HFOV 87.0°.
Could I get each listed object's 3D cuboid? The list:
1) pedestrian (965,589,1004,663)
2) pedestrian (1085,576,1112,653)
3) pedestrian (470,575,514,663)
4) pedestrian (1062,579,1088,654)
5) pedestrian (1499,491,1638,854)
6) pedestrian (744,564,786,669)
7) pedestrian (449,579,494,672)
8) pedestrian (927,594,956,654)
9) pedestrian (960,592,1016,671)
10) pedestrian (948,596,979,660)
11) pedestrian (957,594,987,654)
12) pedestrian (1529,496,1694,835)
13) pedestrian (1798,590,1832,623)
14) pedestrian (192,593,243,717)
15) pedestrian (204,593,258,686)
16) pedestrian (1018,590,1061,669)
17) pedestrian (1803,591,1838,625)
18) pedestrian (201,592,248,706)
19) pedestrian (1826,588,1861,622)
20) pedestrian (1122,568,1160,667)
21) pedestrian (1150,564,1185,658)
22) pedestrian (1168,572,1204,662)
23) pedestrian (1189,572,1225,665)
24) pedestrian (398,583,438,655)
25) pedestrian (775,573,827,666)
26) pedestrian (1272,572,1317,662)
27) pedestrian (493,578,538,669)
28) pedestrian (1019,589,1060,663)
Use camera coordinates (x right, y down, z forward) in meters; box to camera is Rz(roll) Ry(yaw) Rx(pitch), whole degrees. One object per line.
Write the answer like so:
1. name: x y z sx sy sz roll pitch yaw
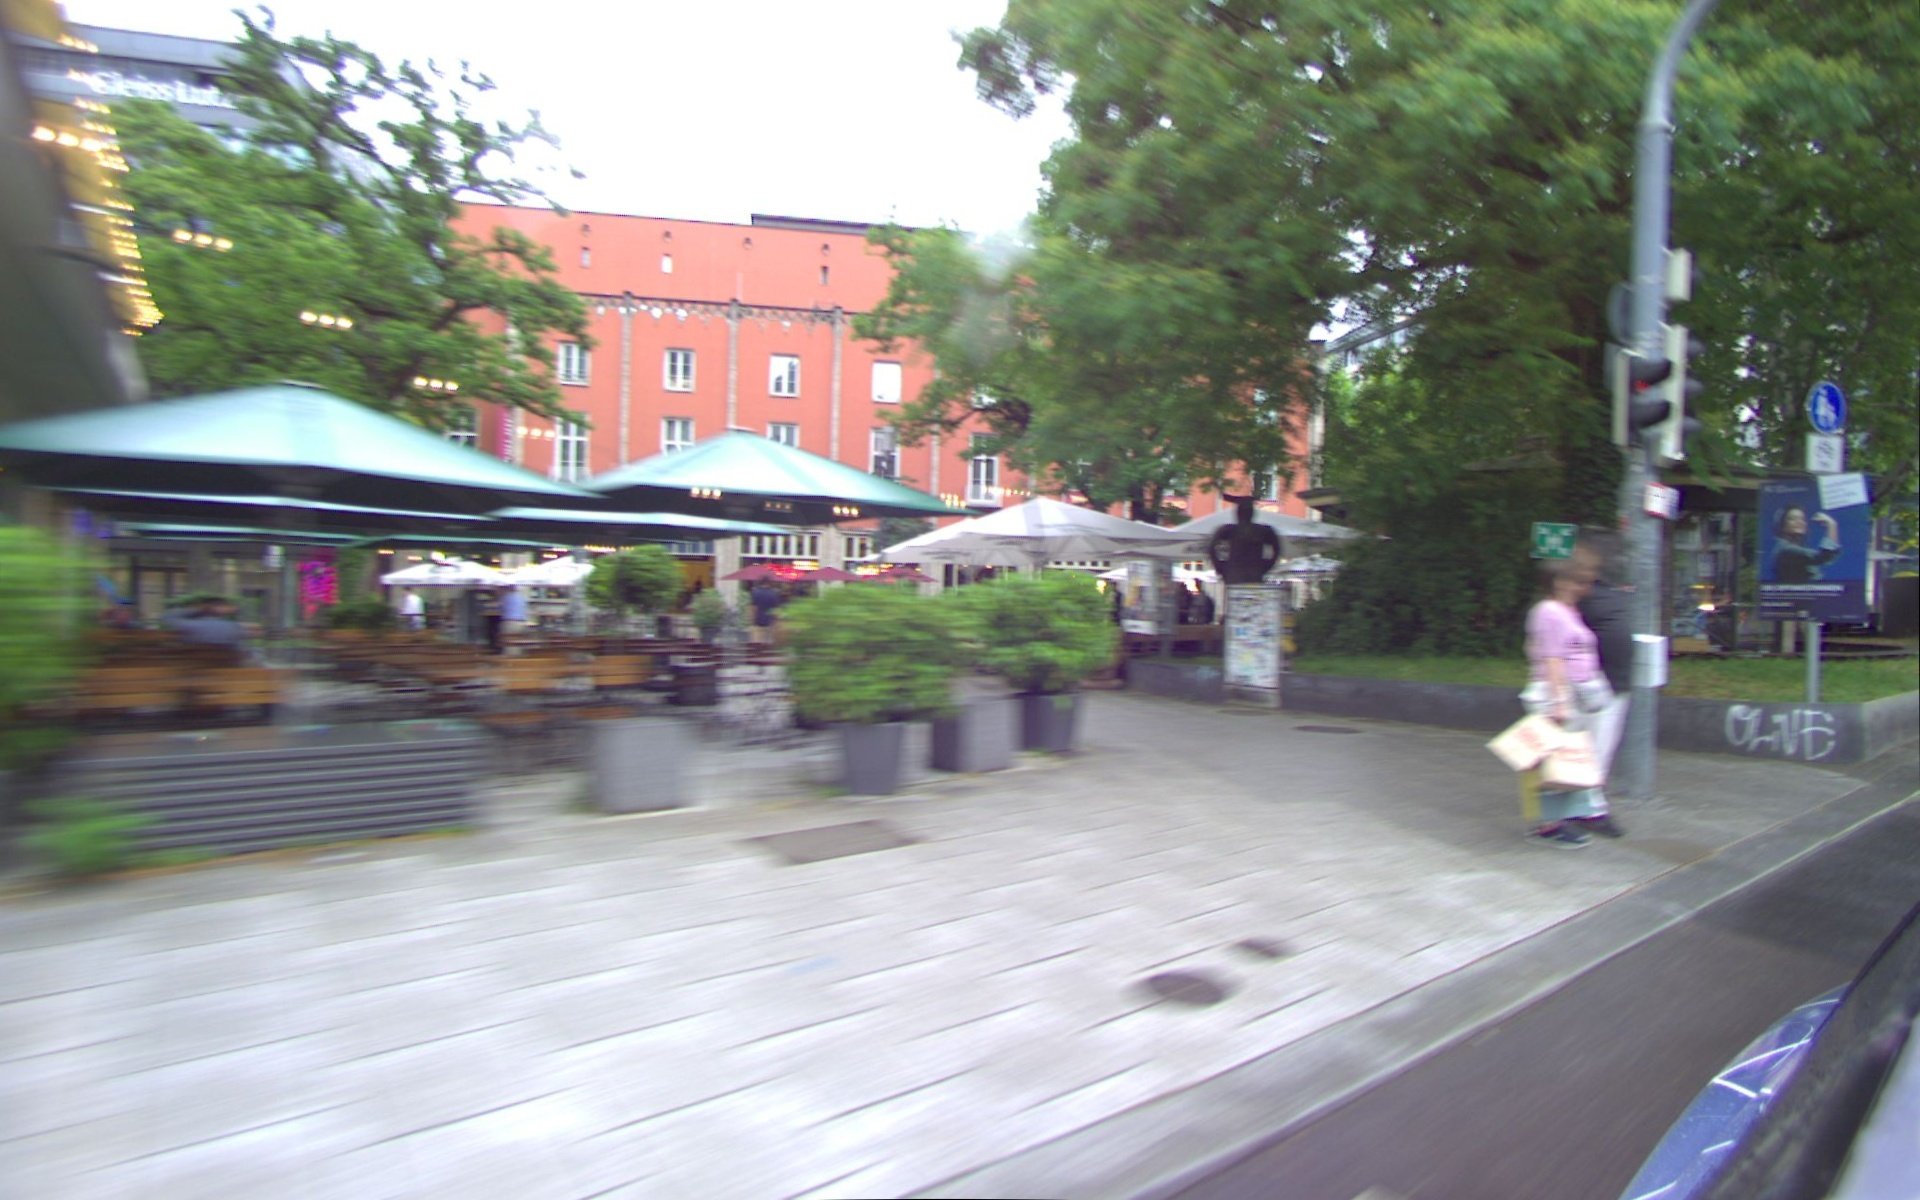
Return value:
1. pedestrian: 0.445 0.478 18.821 0.629 1.344 0.720 0 0 -5
2. pedestrian: 3.089 0.322 22.657 0.537 1.702 0.499 0 -1 2
3. pedestrian: -9.052 0.356 19.573 0.615 1.664 0.676 0 -1 -40
4. pedestrian: 2.638 0.376 23.234 0.537 1.702 0.499 0 -1 2
5. pedestrian: 3.322 0.360 5.573 0.585 1.857 0.624 0 1 26
6. pedestrian: -3.636 0.299 18.834 0.621 1.914 0.464 0 -1 -40
7. pedestrian: -8.945 0.448 18.526 0.615 1.664 0.671 0 -1 -40
8. pedestrian: -0.399 0.502 21.695 0.564 1.256 0.635 0 0 -6
9. pedestrian: 0.476 0.542 17.757 0.928 1.344 0.642 0 0 -3
10. pedestrian: 0.068 0.543 20.273 0.565 1.256 0.634 0 0 -5
11. pedestrian: 0.257 0.504 21.608 0.564 1.256 0.635 0 0 -6
12. pedestrian: 3.830 0.349 5.964 0.552 1.857 0.635 -1 1 -33
13. pedestrian: 23.614 0.184 27.957 0.567 0.883 0.505 1 1 24
14. pedestrian: -8.315 0.595 11.334 0.418 1.338 0.648 0 0 -40
15. pedestrian: -11.180 0.583 15.514 0.615 1.385 0.737 0 -1 -40
16. pedestrian: 1.396 0.506 17.798 0.629 1.344 0.720 0 0 -5
17. pedestrian: 22.953 0.214 27.004 0.567 0.883 0.505 1 1 24
18. pedestrian: -8.899 0.571 12.241 0.418 1.338 0.648 0 0 -40
19. pedestrian: 23.583 0.128 27.024 0.567 0.883 0.505 1 1 24
20. pedestrian: 3.453 0.331 19.354 0.629 1.859 0.499 0 -1 1
21. pedestrian: 3.821 0.197 18.691 0.537 1.702 0.499 0 -1 2
22. pedestrian: 4.333 0.328 19.429 0.537 1.702 0.605 0 -1 1
23. pedestrian: 4.568 0.337 18.706 0.537 1.702 0.499 0 -1 2
24. pedestrian: -12.815 0.431 23.946 0.770 1.664 0.626 0 -1 -35
25. pedestrian: -2.990 0.349 19.041 0.615 1.702 0.848 0 -1 -40
26. pedestrian: 6.406 0.327 19.400 0.670 1.702 0.571 0 -1 2
27. pedestrian: -8.340 0.434 19.002 0.615 1.664 0.676 0 -1 -40
28. pedestrian: 1.472 0.476 18.859 0.629 1.344 0.720 0 0 -5
